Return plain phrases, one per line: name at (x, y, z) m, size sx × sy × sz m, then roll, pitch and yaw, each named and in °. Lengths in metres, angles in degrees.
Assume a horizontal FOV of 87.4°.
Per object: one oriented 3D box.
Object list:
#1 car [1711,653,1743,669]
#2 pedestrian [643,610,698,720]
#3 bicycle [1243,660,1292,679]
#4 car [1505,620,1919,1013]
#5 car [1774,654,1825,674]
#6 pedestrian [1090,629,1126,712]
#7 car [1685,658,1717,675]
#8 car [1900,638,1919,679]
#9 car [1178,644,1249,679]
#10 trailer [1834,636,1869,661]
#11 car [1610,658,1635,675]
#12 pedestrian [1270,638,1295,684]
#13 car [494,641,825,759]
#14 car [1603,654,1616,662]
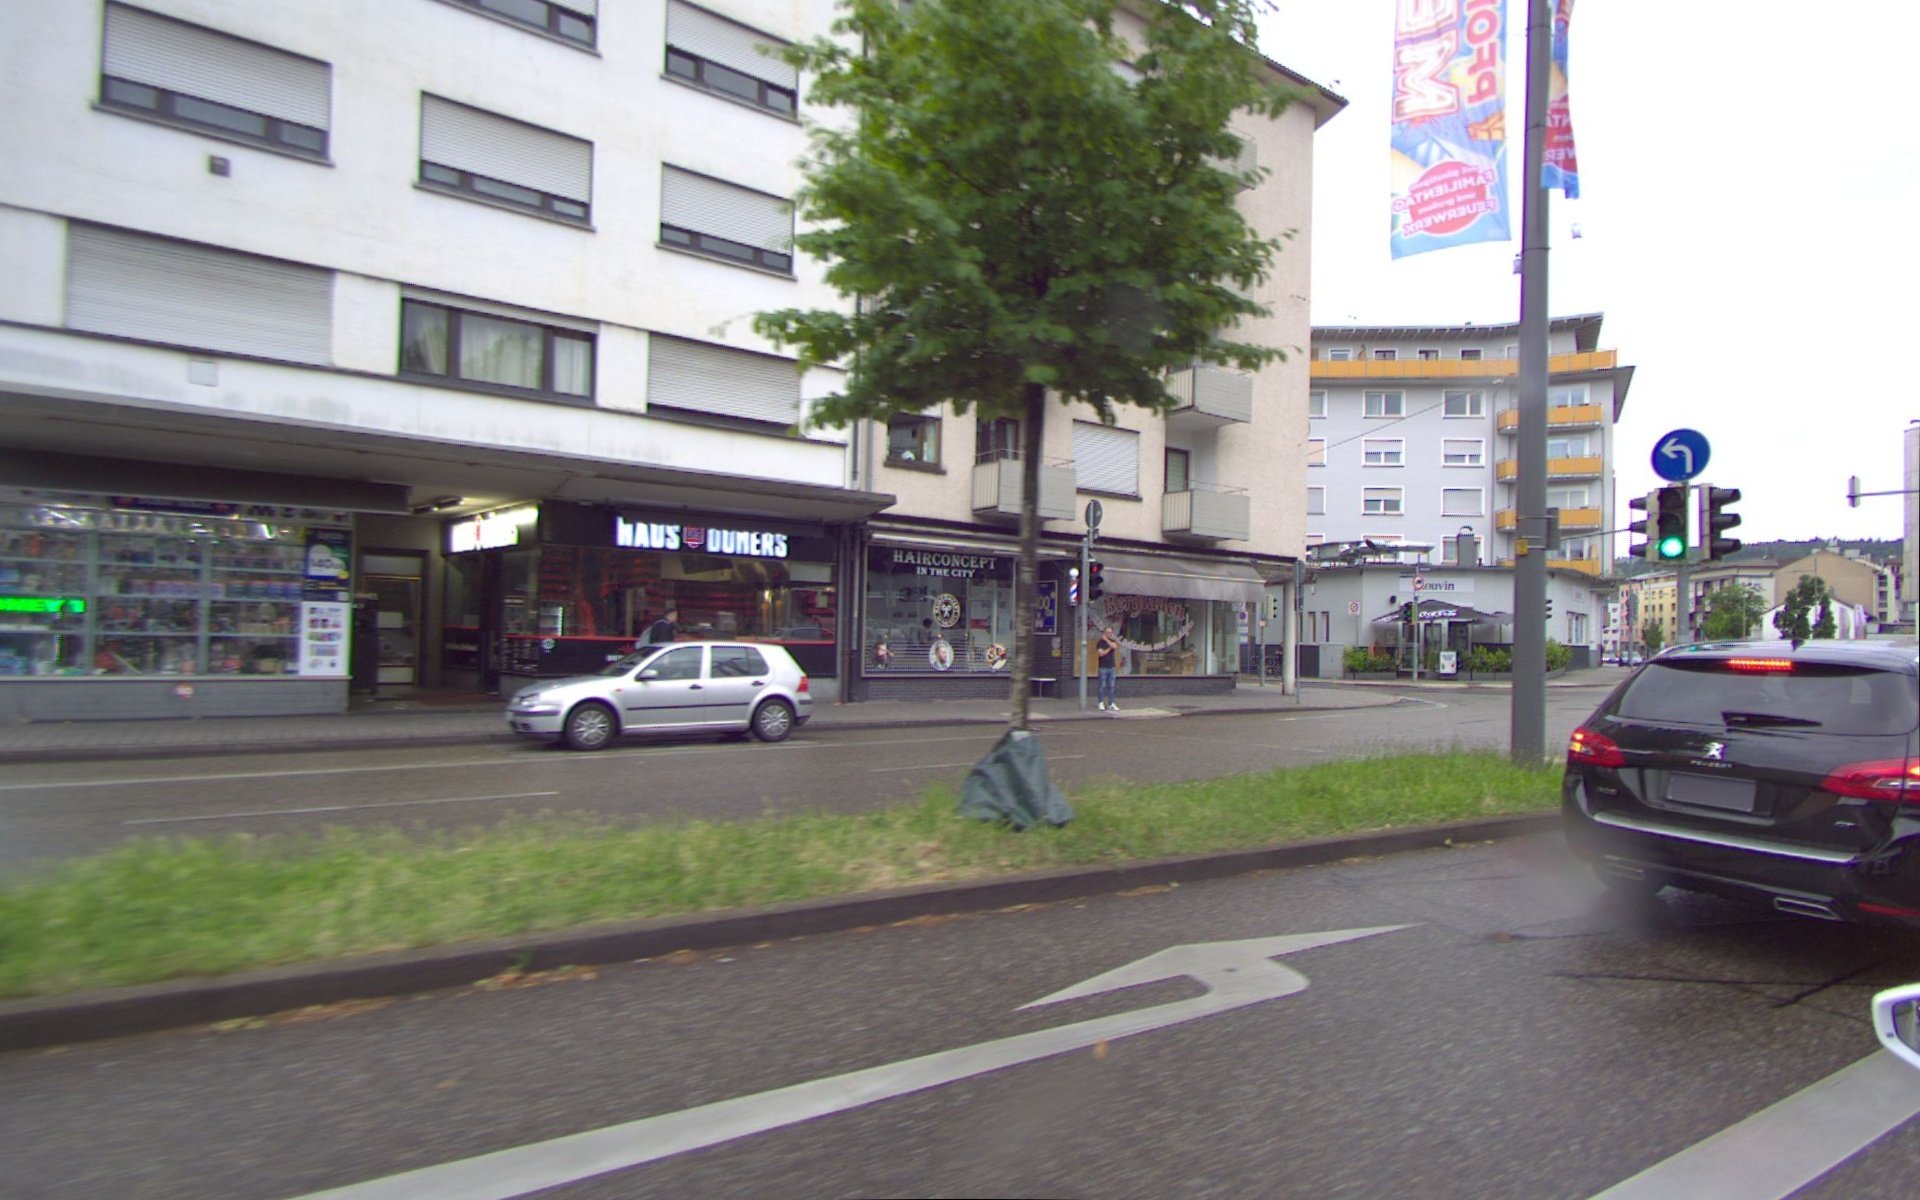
car at (72.189, 5.725, 94.564) m, size 1.639 × 1.415 × 3.863 m, roll 0°, pitch -1°, yaw 26°
pedestrian at (-4.855, 1.065, 16.831) m, size 0.653 × 1.753 × 0.773 m, roll 1°, pitch 2°, yaw -31°
bicycle at (13.681, 3.084, 44.665) m, size 2.177 × 0.819 × 0.617 m, roll 1°, pitch -2°, yaw -21°
car at (5.128, 0.932, 5.541) m, size 4.347 × 1.453 × 1.790 m, roll 3°, pitch -2°, yaw -31°
car at (67.196, 5.073, 80.439) m, size 1.636 × 1.414 × 3.869 m, roll 0°, pitch -1°, yaw 15°
pedestrian at (3.194, 1.516, 21.715) m, size 0.518 × 1.754 × 0.450 m, roll 1°, pitch 2°, yaw -30°
car at (64.946, 5.841, 88.100) m, size 1.707 × 1.458 × 4.406 m, roll -1°, pitch -3°, yaw 29°
car at (40.392, 2.399, 41.510) m, size 1.733 × 1.635 × 4.196 m, roll -2°, pitch -3°, yaw 36°
car at (12.565, 3.034, 49.996) m, size 1.869 × 1.629 × 3.991 m, roll 1°, pitch -2°, yaw -13°
trailer at (102.092, 5.579, 115.094) m, size 2.098 × 2.751 × 5.378 m, roll -3°, pitch -4°, yaw 32°
car at (58.859, 5.919, 89.256) m, size 1.704 × 1.384 × 4.102 m, roll 0°, pitch -4°, yaw 32°
pedestrian at (11.975, 2.263, 37.293) m, size 0.594 × 1.672 × 0.525 m, roll 5°, pitch -2°, yaw -22°
car at (-4.078, 1.312, 13.926) m, size 4.110 × 1.410 × 1.666 m, roll 2°, pitch -4°, yaw -35°
car at (115.733, 10.330, 178.989) m, size 1.696 × 1.441 × 4.158 m, roll -3°, pitch -4°, yaw 30°
